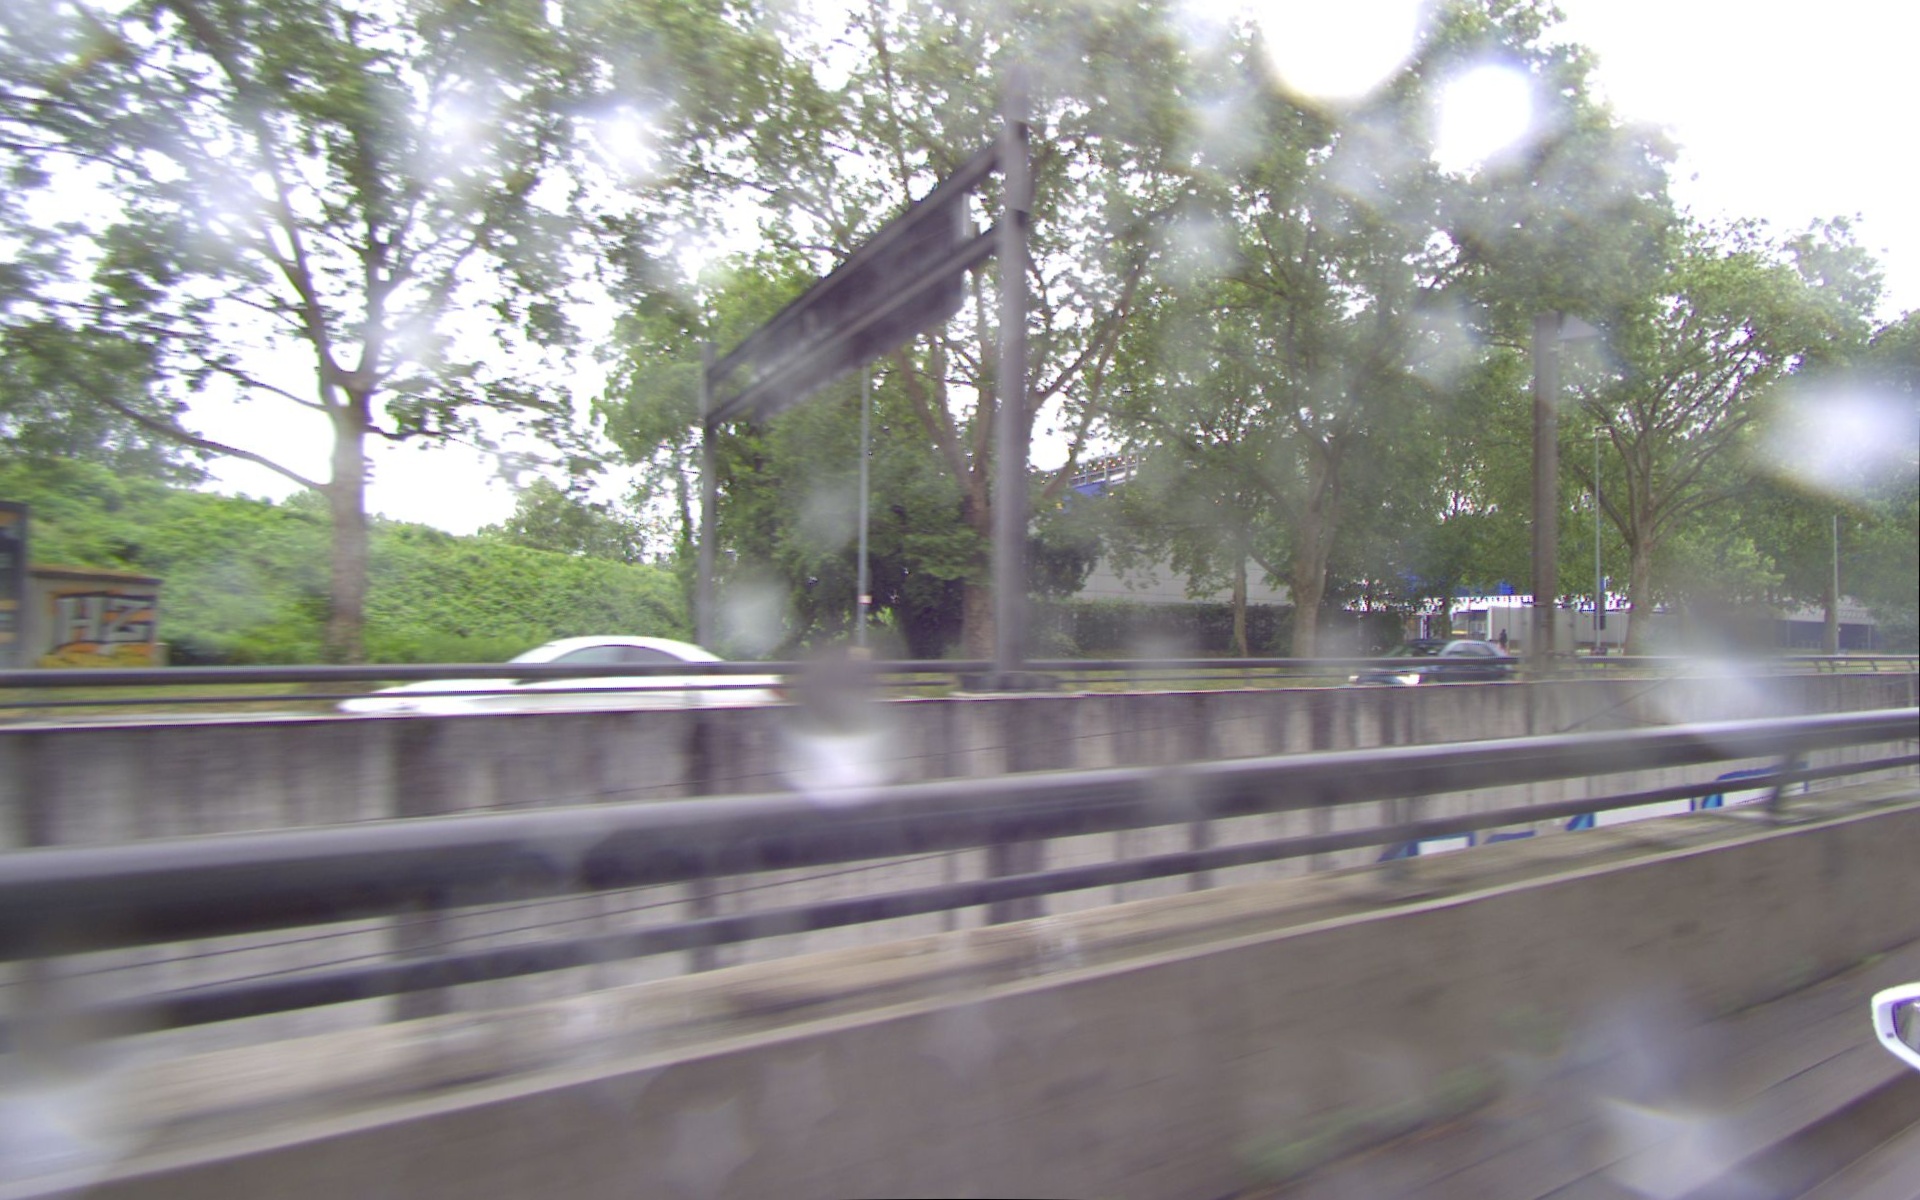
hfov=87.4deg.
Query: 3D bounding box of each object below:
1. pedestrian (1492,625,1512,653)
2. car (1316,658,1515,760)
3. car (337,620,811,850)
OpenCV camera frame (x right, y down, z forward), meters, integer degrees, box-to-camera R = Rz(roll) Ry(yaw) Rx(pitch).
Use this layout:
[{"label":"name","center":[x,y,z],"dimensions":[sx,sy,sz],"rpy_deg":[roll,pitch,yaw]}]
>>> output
[{"label":"pedestrian","center":[40.309,2.876,74.758],"dimensions":[0.780,2.040,0.997],"rpy_deg":[2,0,-28]},{"label":"car","center":[10.597,2.425,23.309],"dimensions":[4.458,2.040,1.984],"rpy_deg":[2,0,-30]},{"label":"car","center":[-4.188,1.318,11.199],"dimensions":[4.562,2.040,1.984],"rpy_deg":[2,0,-30]}]
